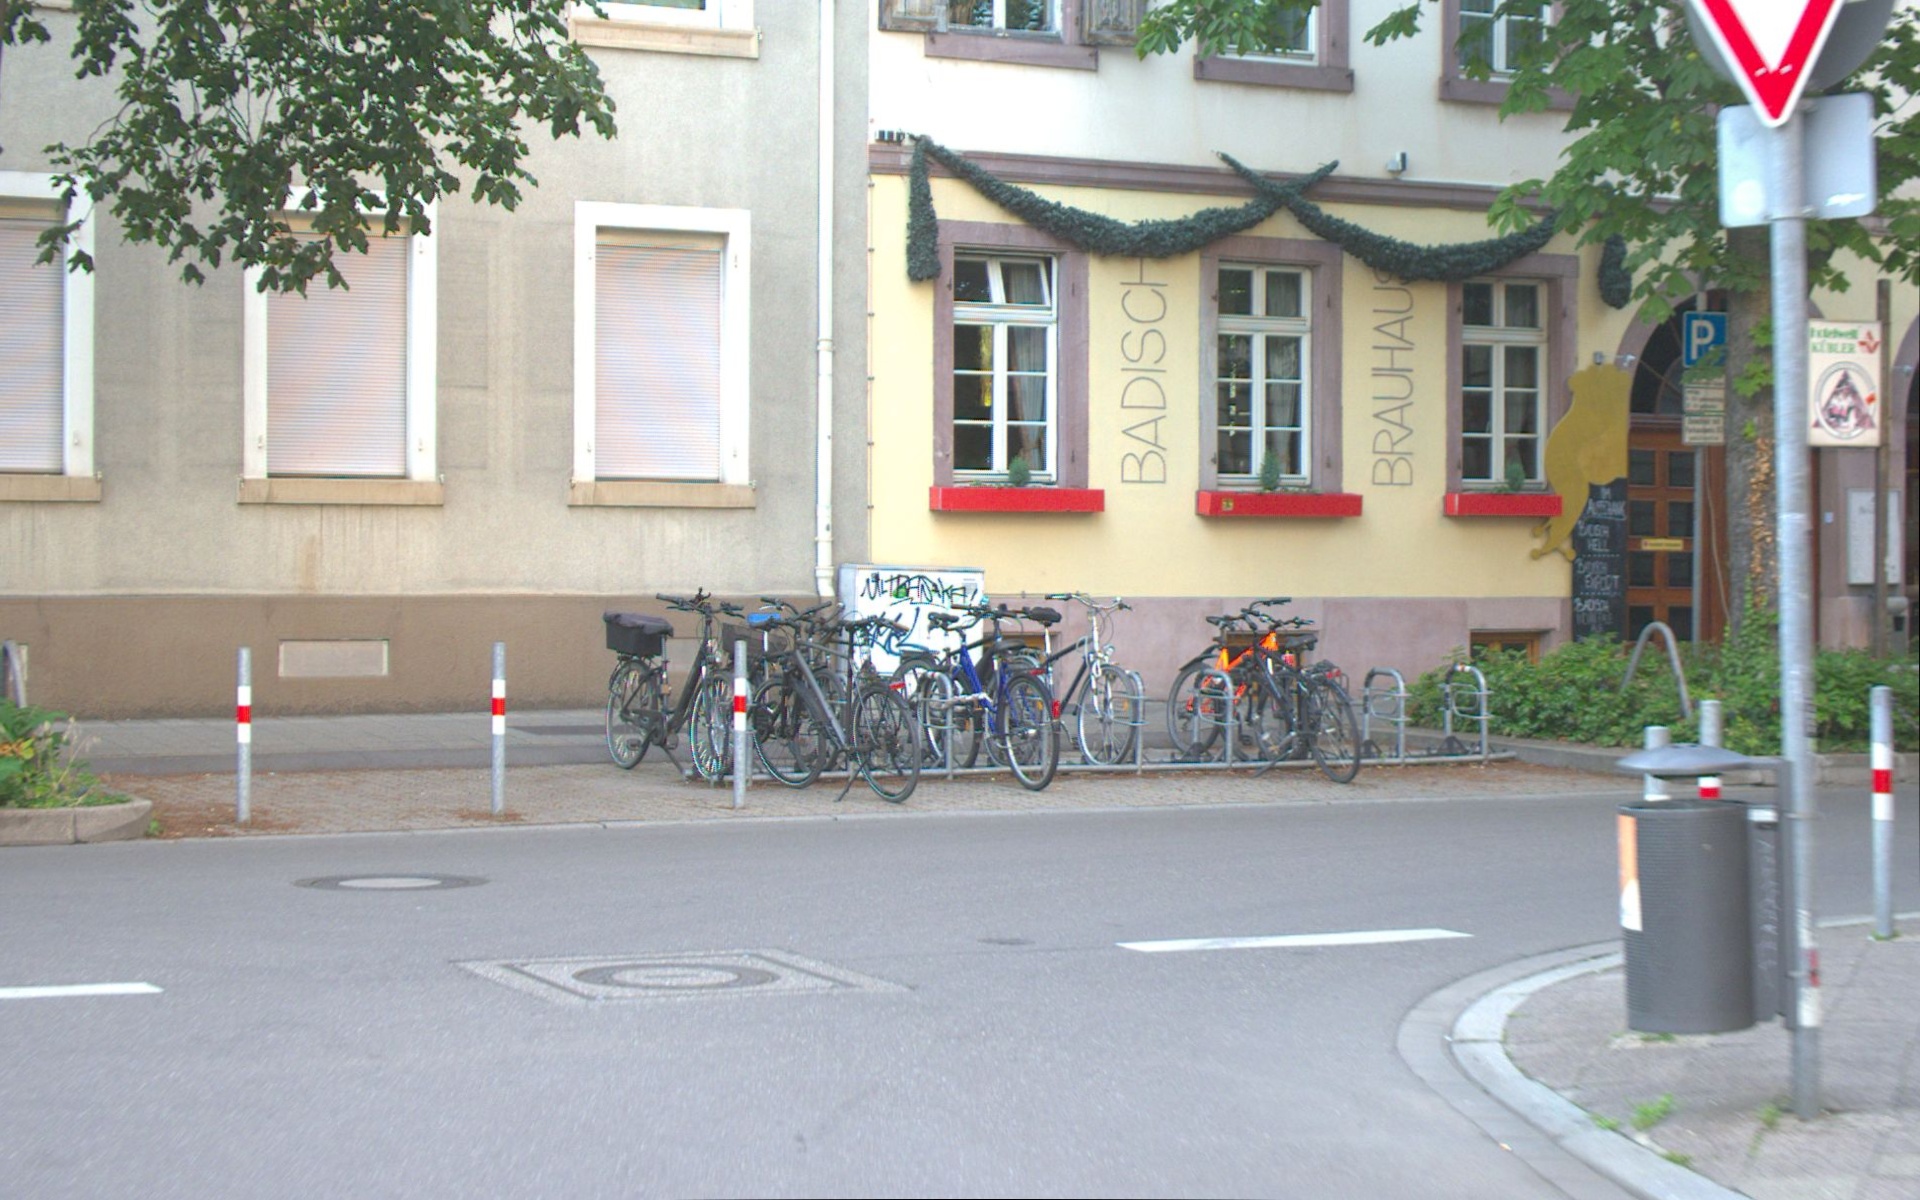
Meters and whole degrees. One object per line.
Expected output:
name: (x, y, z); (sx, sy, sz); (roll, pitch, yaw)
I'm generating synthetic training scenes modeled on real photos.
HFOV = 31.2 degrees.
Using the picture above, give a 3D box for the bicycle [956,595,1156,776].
bicycle: (0.631, 0.558, 23.424); (0.420, 1.141, 2.043); (0, 1, -27)

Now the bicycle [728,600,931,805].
bicycle: (-0.815, 0.590, 20.845); (0.445, 1.141, 2.043); (0, 1, -26)

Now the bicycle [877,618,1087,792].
bicycle: (0.114, 0.638, 21.722); (0.420, 1.000, 2.043); (0, 1, -27)

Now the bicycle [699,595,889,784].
bicycle: (-1.108, 0.558, 22.482); (0.420, 1.141, 2.043); (0, 1, -27)

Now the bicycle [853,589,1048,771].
bicycle: (-0.087, 0.514, 23.142); (0.420, 1.141, 2.043); (0, 1, -27)

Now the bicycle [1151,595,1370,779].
bicycle: (1.982, 0.554, 22.978); (0.420, 1.141, 2.043); (0, 1, -27)

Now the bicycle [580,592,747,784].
bicycle: (-1.923, 0.538, 22.059); (0.445, 1.141, 2.043); (0, 1, -23)
